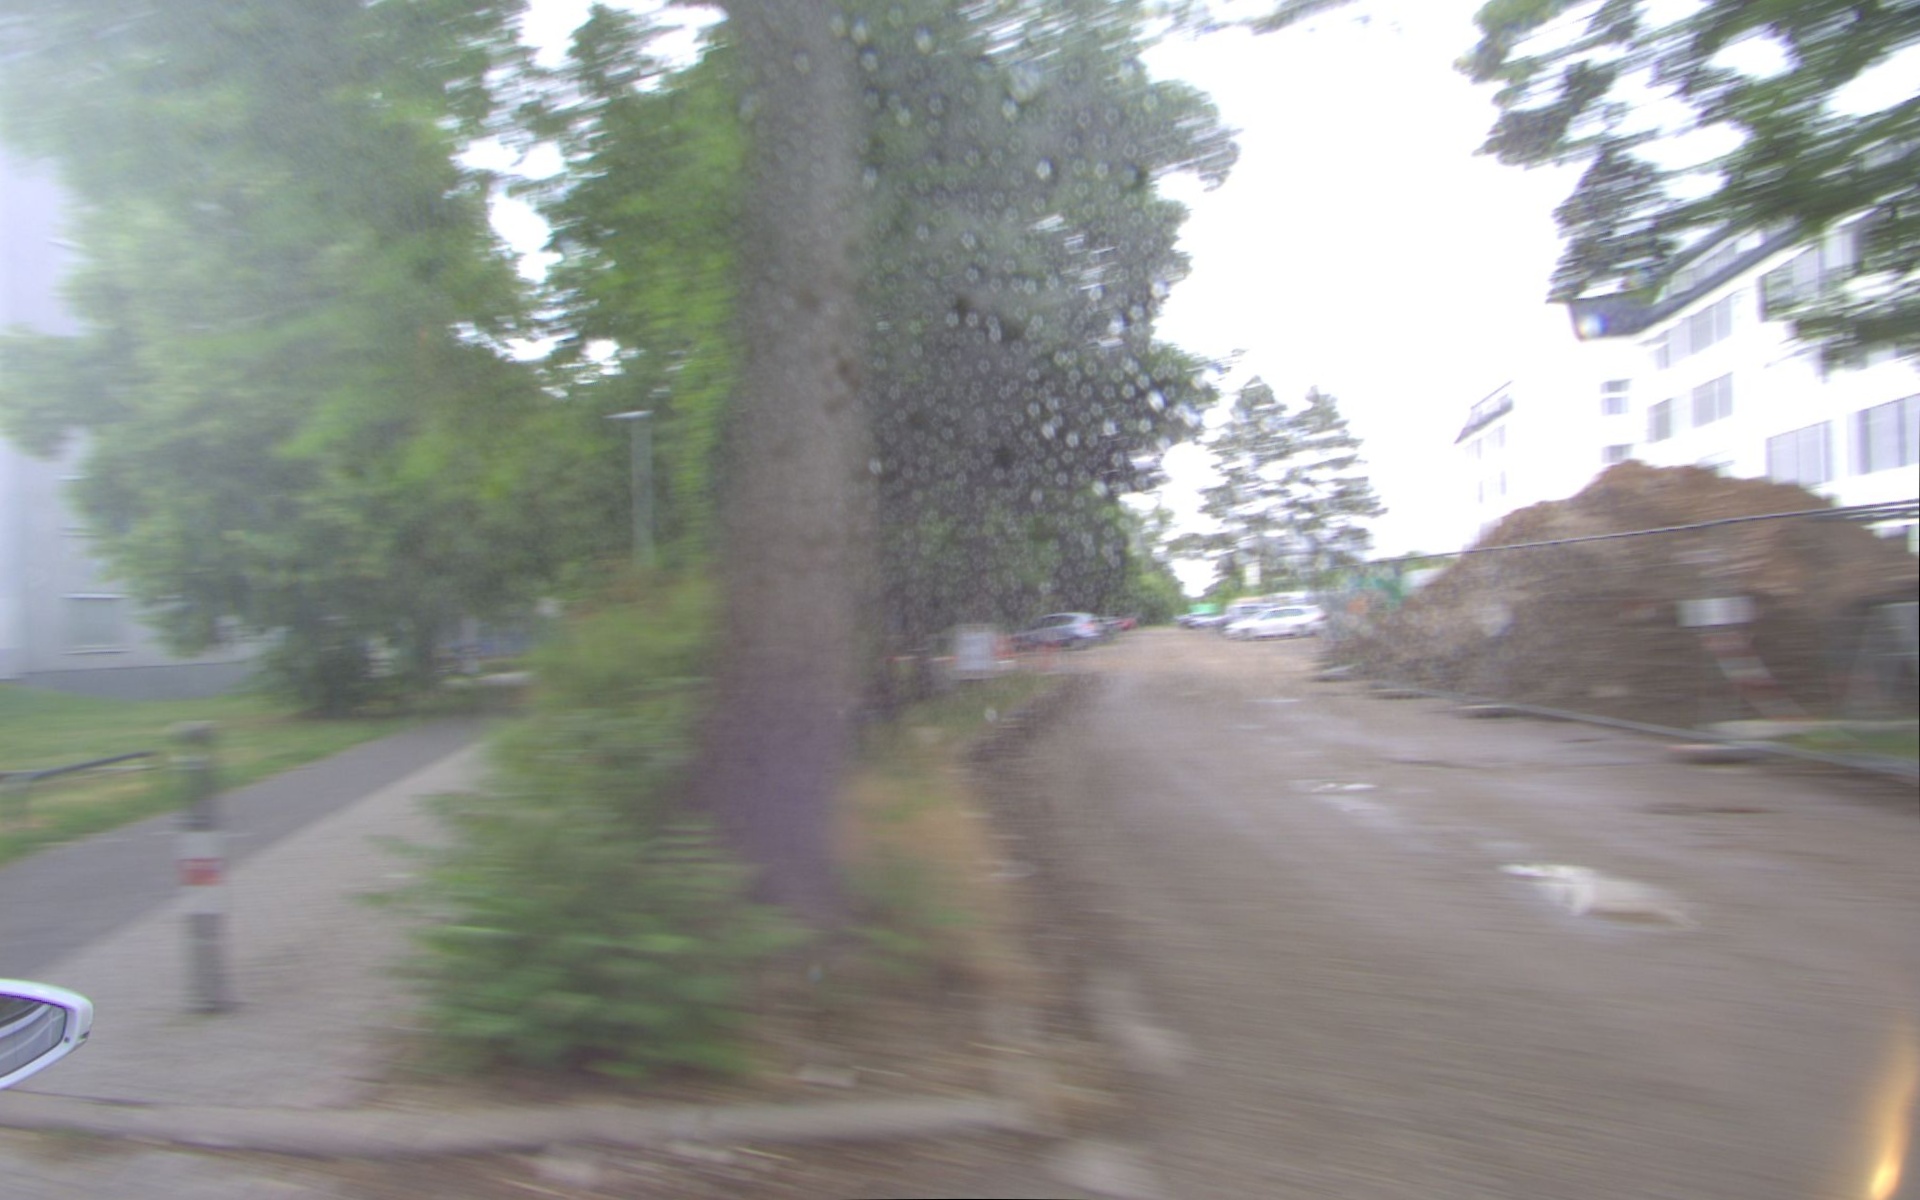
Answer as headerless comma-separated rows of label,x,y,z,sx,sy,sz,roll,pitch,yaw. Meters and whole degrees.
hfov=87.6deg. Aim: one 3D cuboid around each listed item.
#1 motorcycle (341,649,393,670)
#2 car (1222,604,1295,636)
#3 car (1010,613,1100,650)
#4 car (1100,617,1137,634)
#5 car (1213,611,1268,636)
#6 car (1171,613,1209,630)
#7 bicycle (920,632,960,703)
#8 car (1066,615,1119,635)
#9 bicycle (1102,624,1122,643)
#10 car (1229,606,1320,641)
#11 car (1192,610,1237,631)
motorcycle,-29.385,2.952,49.720,0.944,0.892,3.193,-1,-1,-6
car,17.827,1.202,59.903,3.924,1.806,1.929,-2,-1,10
car,4.143,1.373,43.635,3.643,1.520,1.866,-2,-1,14
car,16.031,2.584,101.305,3.585,1.684,1.781,-1,-1,11
car,21.993,1.837,78.687,3.924,1.806,1.999,-2,-1,10
car,24.940,2.331,108.614,3.924,1.806,1.999,-2,-1,10
bicycle,-0.288,0.939,14.176,0.412,0.917,1.154,4,-1,-5
car,11.010,2.089,83.356,3.931,1.527,1.996,-1,-1,-20
bicycle,8.104,1.786,53.469,0.758,0.990,2.032,-1,-1,-1
car,14.778,1.111,47.148,3.982,1.553,1.846,-2,-1,18
car,23.500,1.917,92.560,3.924,1.806,1.999,-2,-1,10
